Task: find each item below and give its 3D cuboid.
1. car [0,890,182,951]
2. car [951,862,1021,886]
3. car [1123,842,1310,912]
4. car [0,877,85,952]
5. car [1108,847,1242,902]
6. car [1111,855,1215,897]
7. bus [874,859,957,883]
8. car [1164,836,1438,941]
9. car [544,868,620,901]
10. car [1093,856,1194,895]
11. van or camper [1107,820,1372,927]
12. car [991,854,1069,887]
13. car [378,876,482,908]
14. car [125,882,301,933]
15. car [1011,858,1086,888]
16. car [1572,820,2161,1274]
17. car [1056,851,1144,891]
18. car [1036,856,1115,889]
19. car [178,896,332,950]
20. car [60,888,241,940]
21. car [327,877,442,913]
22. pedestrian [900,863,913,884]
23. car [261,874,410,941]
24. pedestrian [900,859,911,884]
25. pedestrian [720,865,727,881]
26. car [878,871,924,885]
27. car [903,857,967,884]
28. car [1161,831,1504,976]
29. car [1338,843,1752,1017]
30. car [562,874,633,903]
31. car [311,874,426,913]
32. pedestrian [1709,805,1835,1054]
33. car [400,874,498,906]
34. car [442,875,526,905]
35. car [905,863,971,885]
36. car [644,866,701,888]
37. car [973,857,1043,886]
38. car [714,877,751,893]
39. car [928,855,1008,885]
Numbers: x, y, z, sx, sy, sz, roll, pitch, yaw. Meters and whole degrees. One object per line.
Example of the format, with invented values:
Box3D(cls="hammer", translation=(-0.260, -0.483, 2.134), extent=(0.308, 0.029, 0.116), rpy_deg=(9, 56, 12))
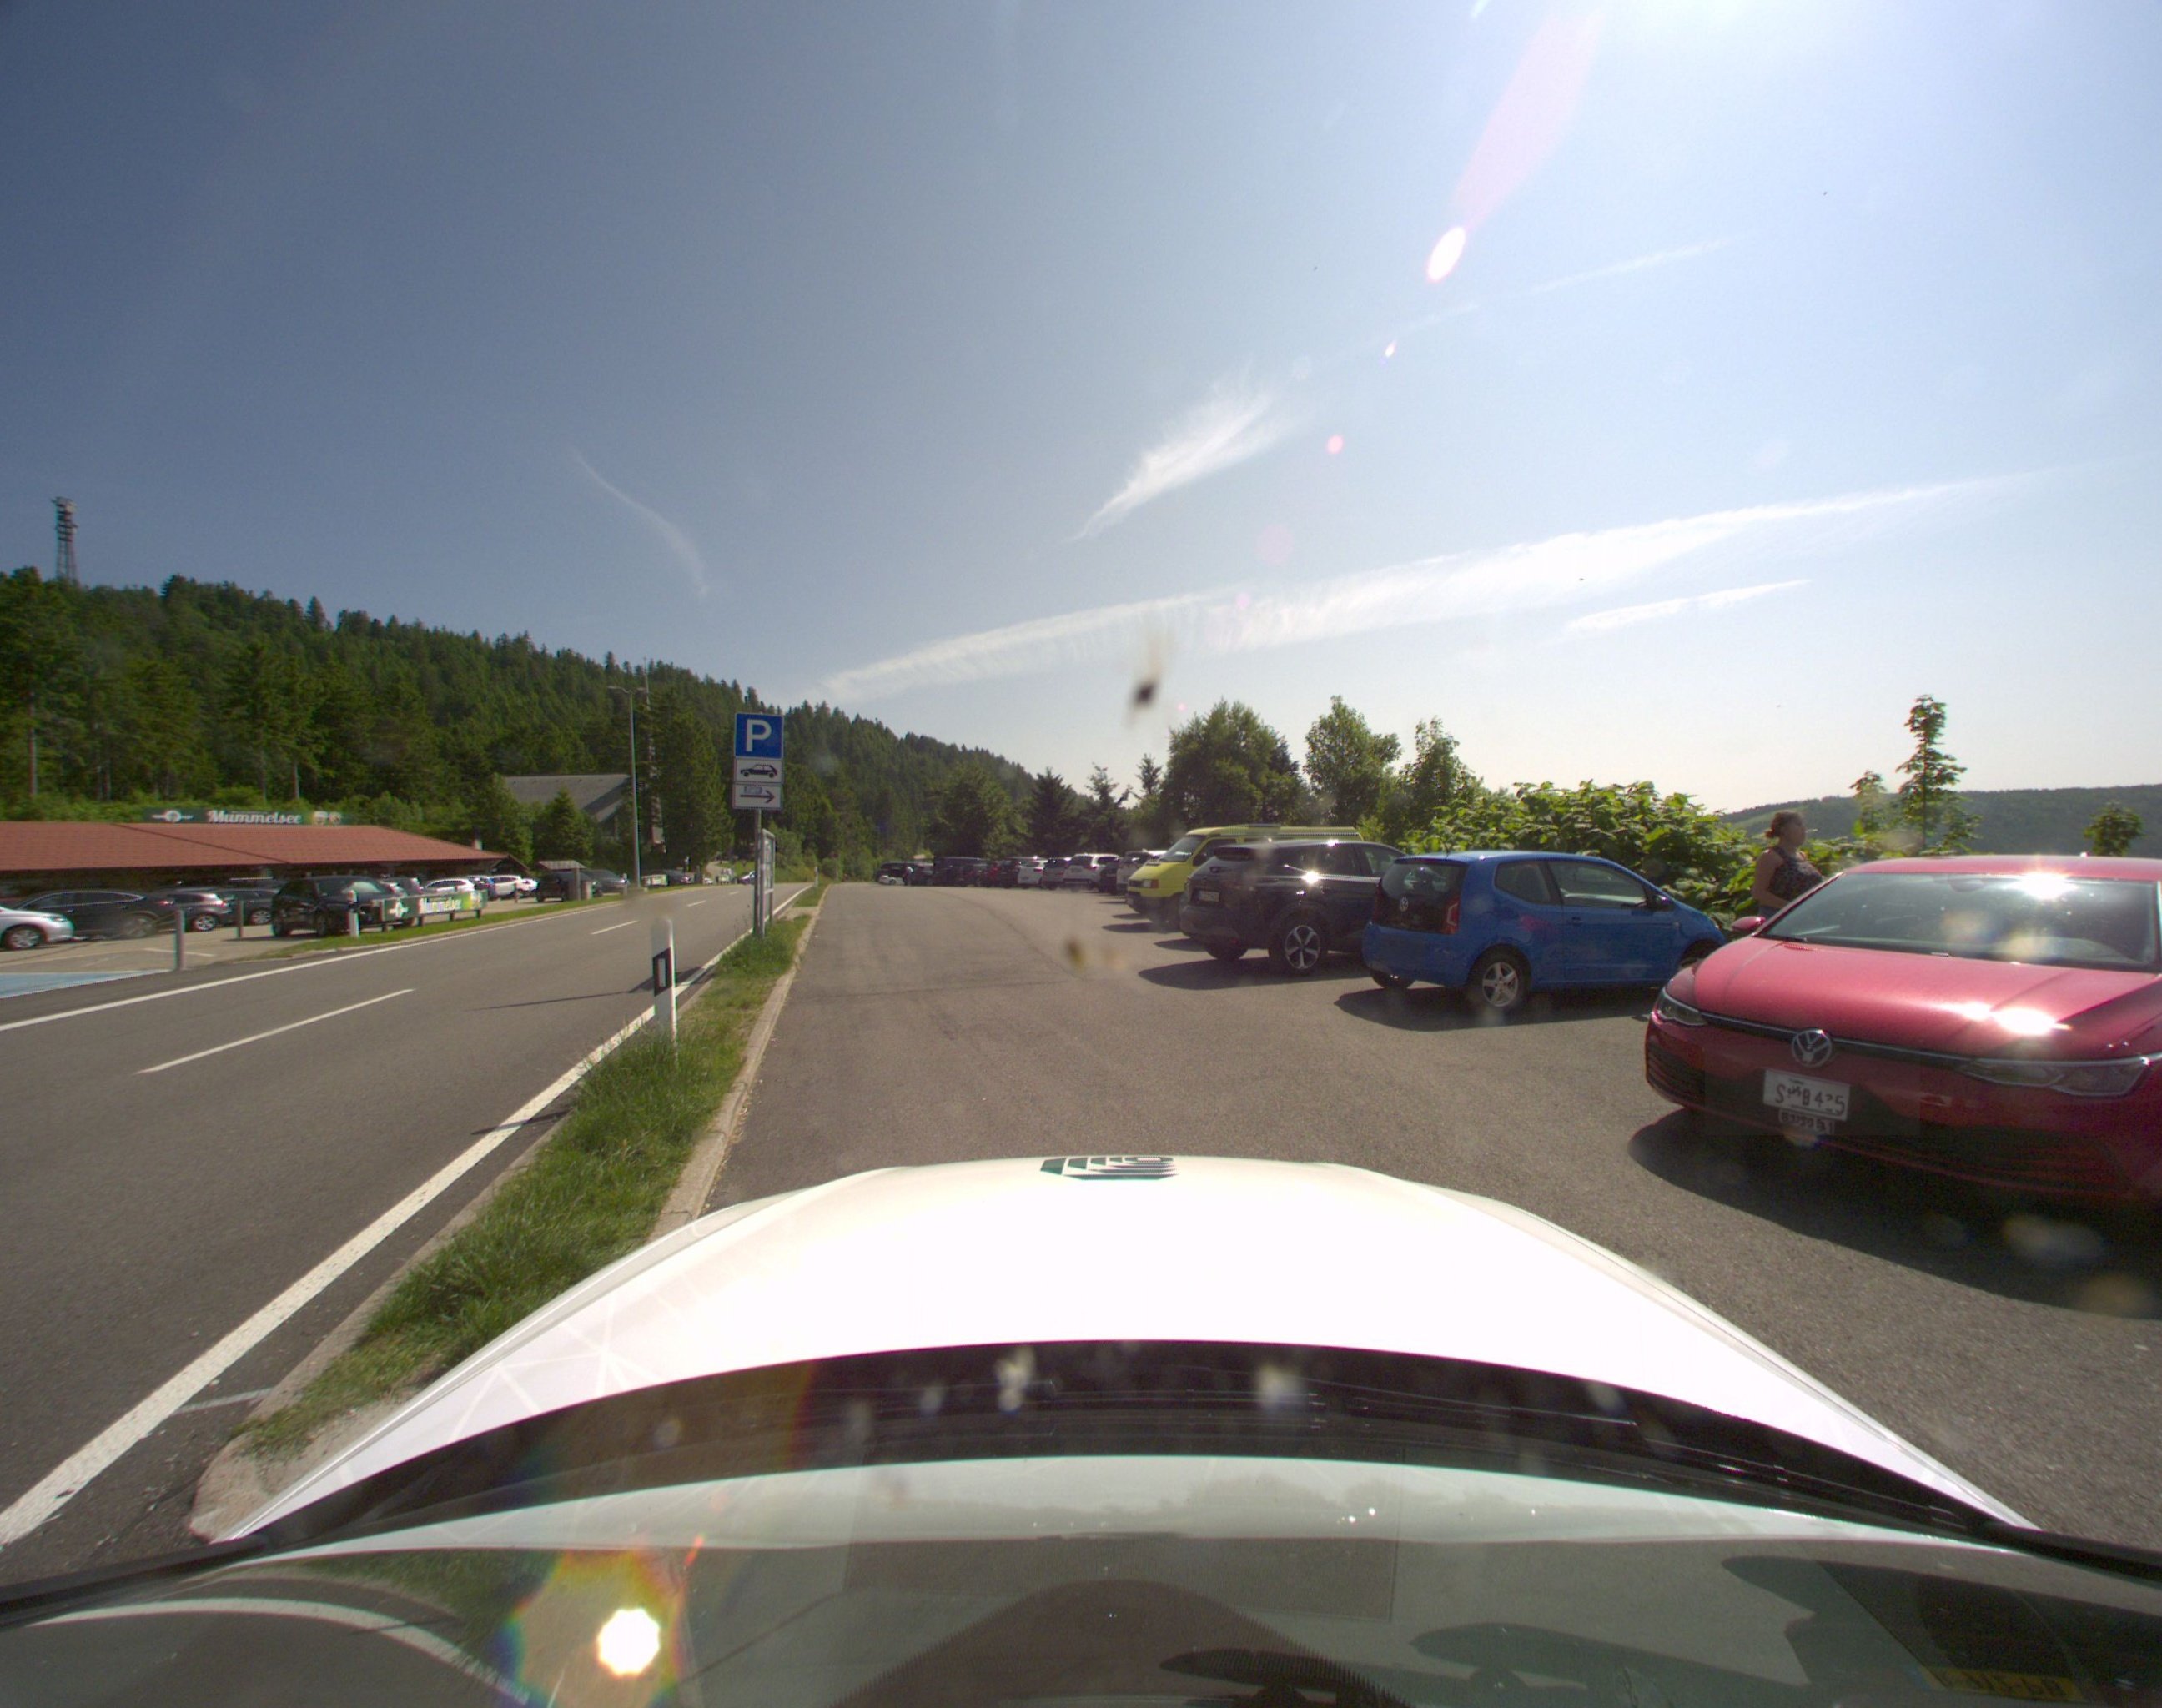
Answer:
Box3D(cls="car", translation=(-29.955, 1.939, 24.151), extent=(1.890, 1.430, 4.025), rpy_deg=(-2, 1, 28))
Box3D(cls="car", translation=(-5.821, 1.259, 50.015), extent=(4.022, 1.415, 1.723), rpy_deg=(2, -2, -44))
Box3D(cls="car", translation=(3.466, 0.532, 20.889), extent=(4.365, 1.487, 1.800), rpy_deg=(-3, 1, -20))
Box3D(cls="car", translation=(-29.251, 1.659, 20.791), extent=(1.812, 1.863, 4.559), rpy_deg=(-2, 1, 31))
Box3D(cls="car", translation=(3.097, 0.672, 26.570), extent=(4.203, 1.650, 1.871), rpy_deg=(2, -2, -36))
Box3D(cls="car", translation=(3.106, 0.816, 30.497), extent=(3.825, 1.459, 1.643), rpy_deg=(2, -1, -39))
Box3D(cls="bus", translation=(-27.071, 2.719, 133.572), extent=(12.818, 3.578, 2.981), rpy_deg=(-1, 1, 0))
Box3D(cls="car", translation=(3.646, 0.516, 13.690), extent=(4.156, 1.589, 1.697), rpy_deg=(0, 0, -14))
Box3D(cls="car", translation=(-25.454, 1.538, 41.503), extent=(3.948, 1.552, 1.795), rpy_deg=(-2, 1, 34))
Box3D(cls="car", translation=(2.573, 0.874, 33.038), extent=(1.871, 1.461, 4.075), rpy_deg=(-1, -2, 45))
Box3D(cls="van or camper", translation=(3.248, 0.408, 16.873), extent=(5.099, 2.013, 1.872), rpy_deg=(1, 0, -15))
Box3D(cls="car", translation=(-2.756, 0.932, 44.645), extent=(1.965, 1.695, 4.300), rpy_deg=(0, -2, 36))
Box3D(cls="car", translation=(-36.070, 2.082, 45.207), extent=(1.883, 1.420, 4.025), rpy_deg=(-3, 1, 29))
Box3D(cls="car", translation=(-31.910, 1.911, 30.090), extent=(1.694, 1.486, 4.105), rpy_deg=(-2, 1, 29))
Box3D(cls="car", translation=(-1.650, 1.009, 42.688), extent=(1.745, 1.476, 4.025), rpy_deg=(0, -2, 36))
Box3D(cls="car", translation=(4.822, 0.637, 4.421), extent=(4.007, 1.509, 1.827), rpy_deg=(0, 0, -26))
Box3D(cls="car", translation=(0.926, 0.759, 36.498), extent=(1.839, 1.695, 4.253), rpy_deg=(0, -1, 36))
Box3D(cls="car", translation=(-0.208, 0.904, 39.775), extent=(1.797, 1.549, 4.025), rpy_deg=(0, -2, 36))
Box3D(cls="car", translation=(-33.307, 2.710, 32.948), extent=(1.802, 1.703, 4.026), rpy_deg=(-2, 1, 34))
Box3D(cls="car", translation=(-30.940, 1.953, 27.202), extent=(1.568, 1.321, 3.661), rpy_deg=(-2, 1, 26))
Box3D(cls="car", translation=(-35.617, 2.066, 41.774), extent=(1.875, 1.545, 4.025), rpy_deg=(-2, 1, 30))
Box3D(cls="pedestrian", translation=(-12.061, 1.357, 56.234), extent=(0.774, 1.402, 0.667), rpy_deg=(-3, 1, -10))
Box3D(cls="car", translation=(-20.025, 1.390, 21.843), extent=(4.138, 1.540, 1.819), rpy_deg=(-2, 1, 31))
Box3D(cls="pedestrian", translation=(-12.595, 1.245, 58.337), extent=(0.576, 1.761, 0.633), rpy_deg=(1, -2, 3))
Box3D(cls="pedestrian", translation=(-41.753, 2.251, 95.150), extent=(0.655, 1.799, 0.638), rpy_deg=(-1, 0, -23))
Box3D(cls="car", translation=(-18.929, 2.561, 85.698), extent=(4.483, 1.299, 1.566), rpy_deg=(4, -3, -33))
Box3D(cls="car", translation=(-10.363, 1.199, 58.149), extent=(4.021, 1.662, 1.975), rpy_deg=(5, -5, -44))
Box3D(cls="car", translation=(3.258, 0.536, 10.657), extent=(4.002, 1.613, 1.903), rpy_deg=(0, 0, -22))
Box3D(cls="car", translation=(4.658, 0.665, 8.310), extent=(3.588, 1.495, 1.639), rpy_deg=(1, 0, -16))
Box3D(cls="car", translation=(-28.053, 2.000, 47.214), extent=(4.008, 1.567, 1.751), rpy_deg=(-2, 0, 29))
Box3D(cls="car", translation=(-34.345, 1.867, 39.365), extent=(1.713, 1.588, 3.756), rpy_deg=(-2, 1, 29))
Box3D(cls="pedestrian", translation=(5.086, 0.526, 6.007), extent=(0.506, 1.725, 0.562), rpy_deg=(1, -1, -29))
Box3D(cls="car", translation=(-37.151, 2.084, 47.980), extent=(1.974, 1.574, 4.025), rpy_deg=(-3, 1, 29))
Box3D(cls="car", translation=(-39.214, 2.338, 53.586), extent=(1.754, 1.672, 4.056), rpy_deg=(-4, 0, 28))
Box3D(cls="car", translation=(-9.660, 1.337, 55.247), extent=(4.018, 1.443, 1.819), rpy_deg=(2, -2, -38))
Box3D(cls="car", translation=(-33.178, 1.882, 66.120), extent=(4.160, 1.634, 1.799), rpy_deg=(-3, -1, 23))
Box3D(cls="car", translation=(-4.239, 1.034, 47.763), extent=(1.839, 1.590, 4.025), rpy_deg=(0, -2, 36))
Box3D(cls="car", translation=(-36.841, 3.260, 86.147), extent=(1.565, 1.428, 3.392), rpy_deg=(-2, 1, 28))
Box3D(cls="car", translation=(-7.293, 1.068, 52.858), extent=(4.793, 1.880, 1.945), rpy_deg=(2, -2, -36))
